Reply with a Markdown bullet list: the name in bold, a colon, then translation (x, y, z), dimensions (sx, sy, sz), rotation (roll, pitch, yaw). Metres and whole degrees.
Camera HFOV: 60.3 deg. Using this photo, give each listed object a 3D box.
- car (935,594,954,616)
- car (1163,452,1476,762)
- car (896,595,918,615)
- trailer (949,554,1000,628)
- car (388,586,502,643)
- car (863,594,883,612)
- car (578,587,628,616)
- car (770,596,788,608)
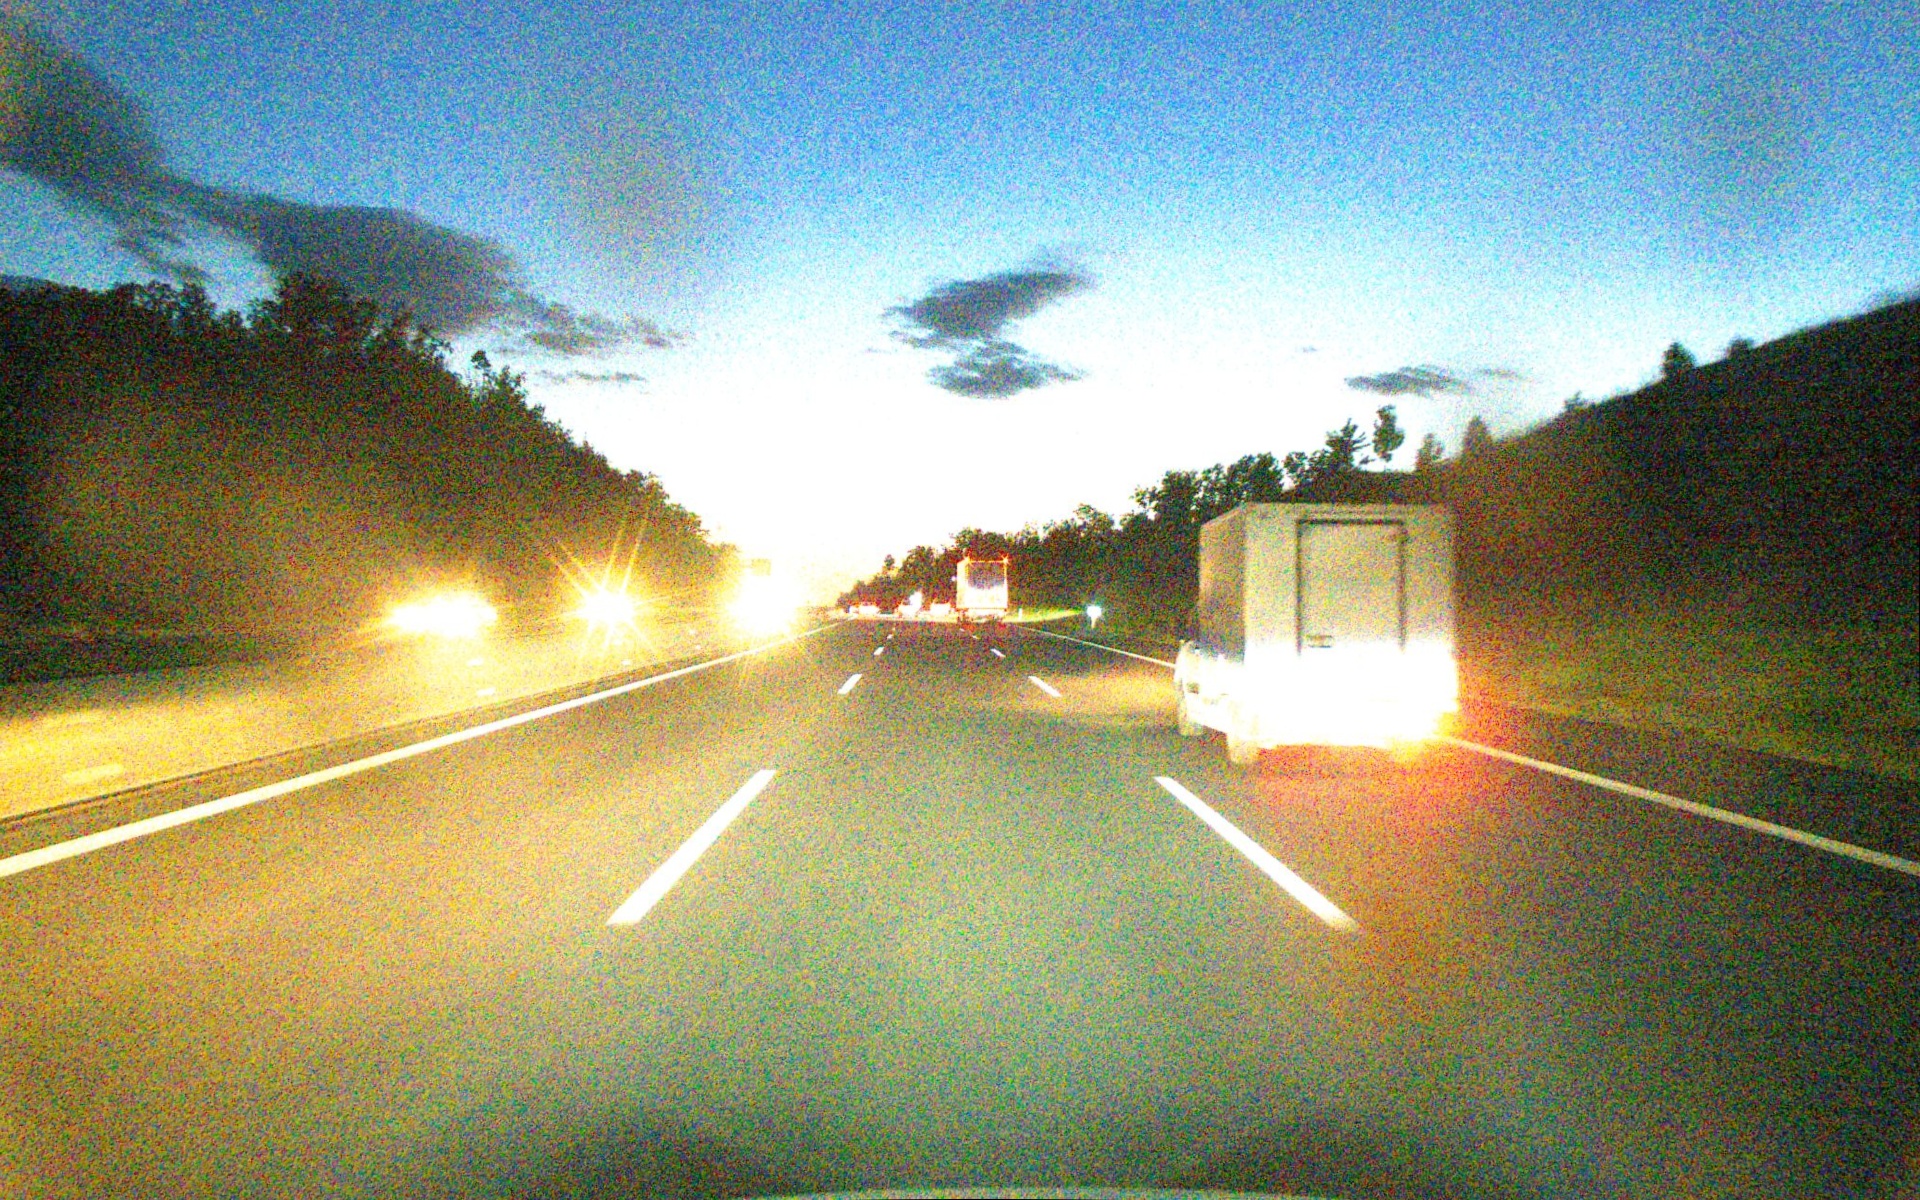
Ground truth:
- **car**: translation (-1.629, 0.539, 175.089), dimensions (1.953, 2.154, 3.998), rotation (1, -2, -1)
- **car**: translation (3.494, 0.062, 17.307), dimensions (1.991, 2.693, 5.724), rotation (1, 0, 0)
- **car**: translation (-4.961, 0.473, 155.601), dimensions (1.954, 1.825, 3.997), rotation (1, -2, -3)
- **trailer**: translation (0.823, -0.426, 109.546), dimensions (2.772, 4.331, 17.041), rotation (1, -2, -1)
- **car**: translation (-16.086, 0.438, 51.950), dimensions (2.199, 1.697, 4.887), rotation (1, 0, -2)
- **car**: translation (-9.128, 0.320, 173.558), dimensions (1.954, 1.825, 3.996), rotation (1, -2, -4)
- **car**: translation (-22.040, 0.100, 102.325), dimensions (2.199, 1.697, 4.885), rotation (1, 0, -2)
- **car**: translation (-24.302, 0.261, 222.481), dimensions (2.200, 1.625, 4.884), rotation (1, 0, -4)
